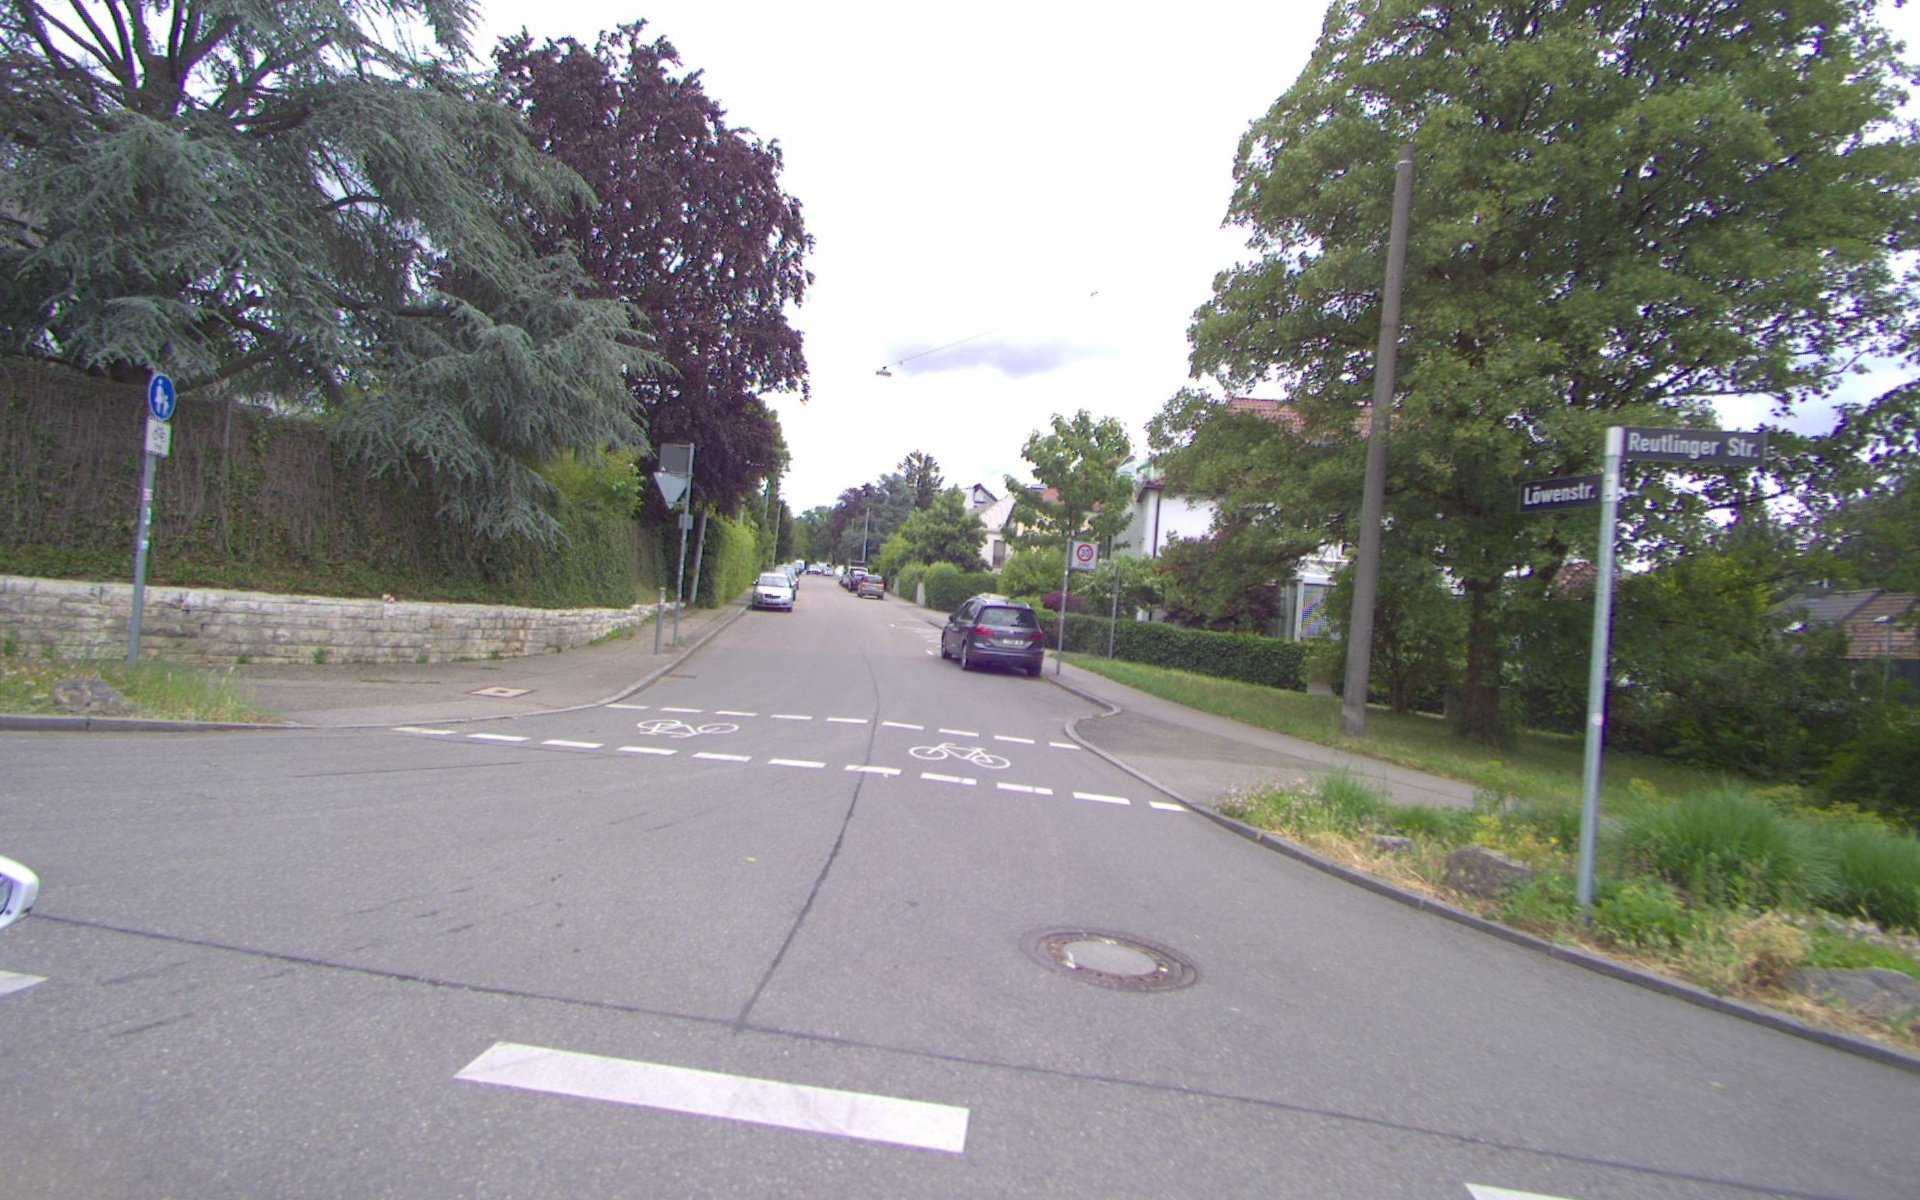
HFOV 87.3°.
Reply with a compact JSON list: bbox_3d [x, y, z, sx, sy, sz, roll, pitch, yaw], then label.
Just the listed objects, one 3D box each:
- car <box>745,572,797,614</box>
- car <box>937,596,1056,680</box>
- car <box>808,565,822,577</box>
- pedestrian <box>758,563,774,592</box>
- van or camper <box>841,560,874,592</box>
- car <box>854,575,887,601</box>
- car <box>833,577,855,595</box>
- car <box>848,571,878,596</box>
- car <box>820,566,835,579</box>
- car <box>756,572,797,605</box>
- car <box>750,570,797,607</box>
[{"bbox_3d":[-7.873,-0.321,41.730,1.920,1.460,3.990,6,0,-12],"label":"car"},{"bbox_3d":[0.719,0.795,23.066,1.792,1.556,3.991,5,1,-10],"label":"car"},{"bbox_3d":[-20.764,-4.140,143.891,1.634,1.351,3.771,8,0,-12],"label":"car"},{"bbox_3d":[-14.678,-1.691,76.176,0.843,2.039,0.869,7,1,-15],"label":"pedestrian"},{"bbox_3d":[-8.927,-2.088,87.187,2.084,2.435,5.233,6,0,-12],"label":"van or camper"},{"bbox_3d":[-5.869,-0.830,65.777,1.588,1.431,3.463,8,0,-13],"label":"car"},{"bbox_3d":[-11.046,-1.378,95.566,1.588,1.431,3.463,8,0,-13],"label":"car"},{"bbox_3d":[-7.275,-1.241,75.525,1.723,1.661,3.719,6,0,-12],"label":"car"},{"bbox_3d":[-22.624,-4.733,172.168,1.916,1.818,4.182,8,0,-14],"label":"car"},{"bbox_3d":[-9.542,-0.634,52.149,1.920,1.460,3.990,6,0,-12],"label":"car"},{"bbox_3d":[-8.713,-0.544,46.794,1.920,1.460,3.990,6,0,-12],"label":"car"}]
